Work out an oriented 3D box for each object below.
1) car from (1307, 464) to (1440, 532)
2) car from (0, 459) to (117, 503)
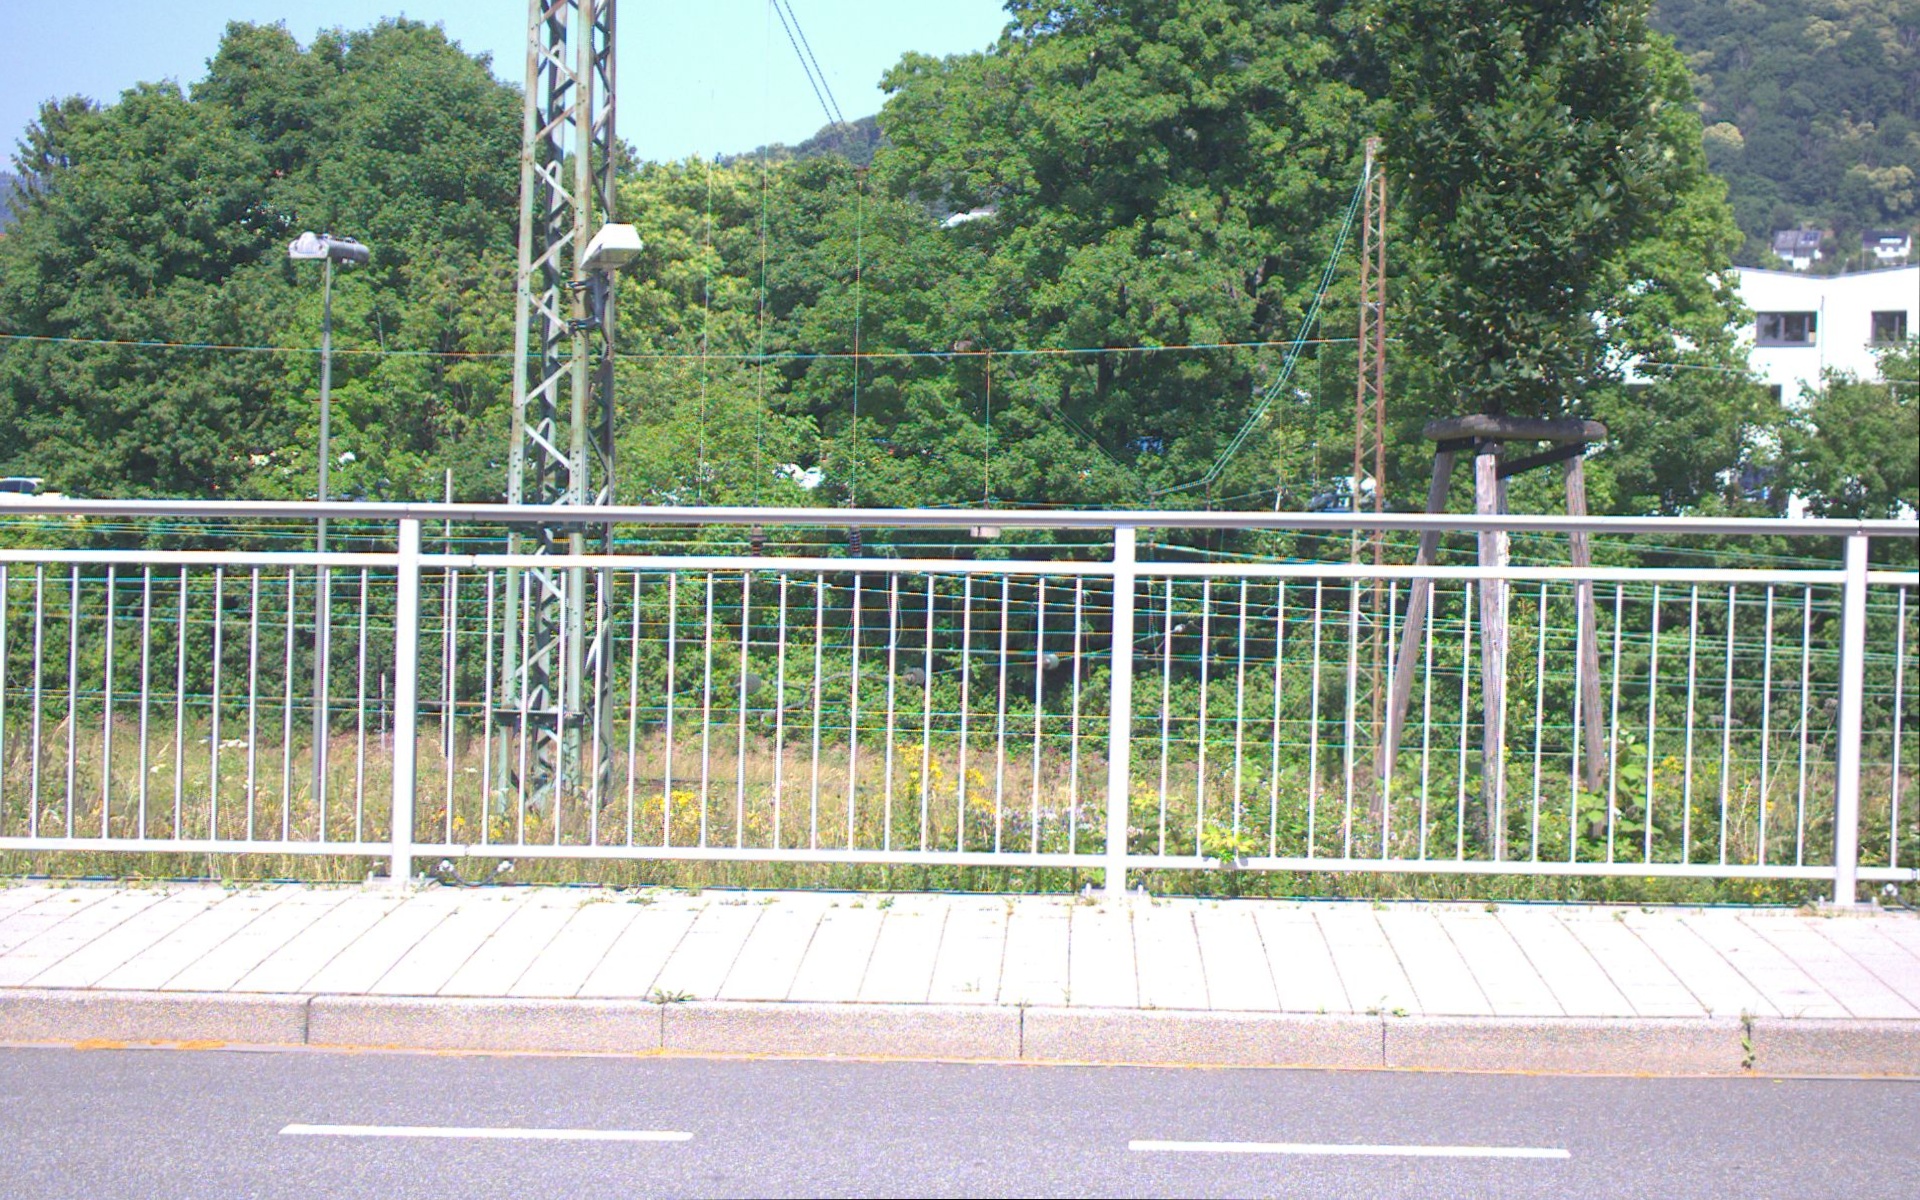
[{"bbox_3d":[13.143,-3.232,109.230,3.925,2.007,1.753,0,-2,20],"label":"car"},{"bbox_3d":[-29.286,-3.814,110.232,4.310,1.362,1.863,2,3,31],"label":"car"}]
